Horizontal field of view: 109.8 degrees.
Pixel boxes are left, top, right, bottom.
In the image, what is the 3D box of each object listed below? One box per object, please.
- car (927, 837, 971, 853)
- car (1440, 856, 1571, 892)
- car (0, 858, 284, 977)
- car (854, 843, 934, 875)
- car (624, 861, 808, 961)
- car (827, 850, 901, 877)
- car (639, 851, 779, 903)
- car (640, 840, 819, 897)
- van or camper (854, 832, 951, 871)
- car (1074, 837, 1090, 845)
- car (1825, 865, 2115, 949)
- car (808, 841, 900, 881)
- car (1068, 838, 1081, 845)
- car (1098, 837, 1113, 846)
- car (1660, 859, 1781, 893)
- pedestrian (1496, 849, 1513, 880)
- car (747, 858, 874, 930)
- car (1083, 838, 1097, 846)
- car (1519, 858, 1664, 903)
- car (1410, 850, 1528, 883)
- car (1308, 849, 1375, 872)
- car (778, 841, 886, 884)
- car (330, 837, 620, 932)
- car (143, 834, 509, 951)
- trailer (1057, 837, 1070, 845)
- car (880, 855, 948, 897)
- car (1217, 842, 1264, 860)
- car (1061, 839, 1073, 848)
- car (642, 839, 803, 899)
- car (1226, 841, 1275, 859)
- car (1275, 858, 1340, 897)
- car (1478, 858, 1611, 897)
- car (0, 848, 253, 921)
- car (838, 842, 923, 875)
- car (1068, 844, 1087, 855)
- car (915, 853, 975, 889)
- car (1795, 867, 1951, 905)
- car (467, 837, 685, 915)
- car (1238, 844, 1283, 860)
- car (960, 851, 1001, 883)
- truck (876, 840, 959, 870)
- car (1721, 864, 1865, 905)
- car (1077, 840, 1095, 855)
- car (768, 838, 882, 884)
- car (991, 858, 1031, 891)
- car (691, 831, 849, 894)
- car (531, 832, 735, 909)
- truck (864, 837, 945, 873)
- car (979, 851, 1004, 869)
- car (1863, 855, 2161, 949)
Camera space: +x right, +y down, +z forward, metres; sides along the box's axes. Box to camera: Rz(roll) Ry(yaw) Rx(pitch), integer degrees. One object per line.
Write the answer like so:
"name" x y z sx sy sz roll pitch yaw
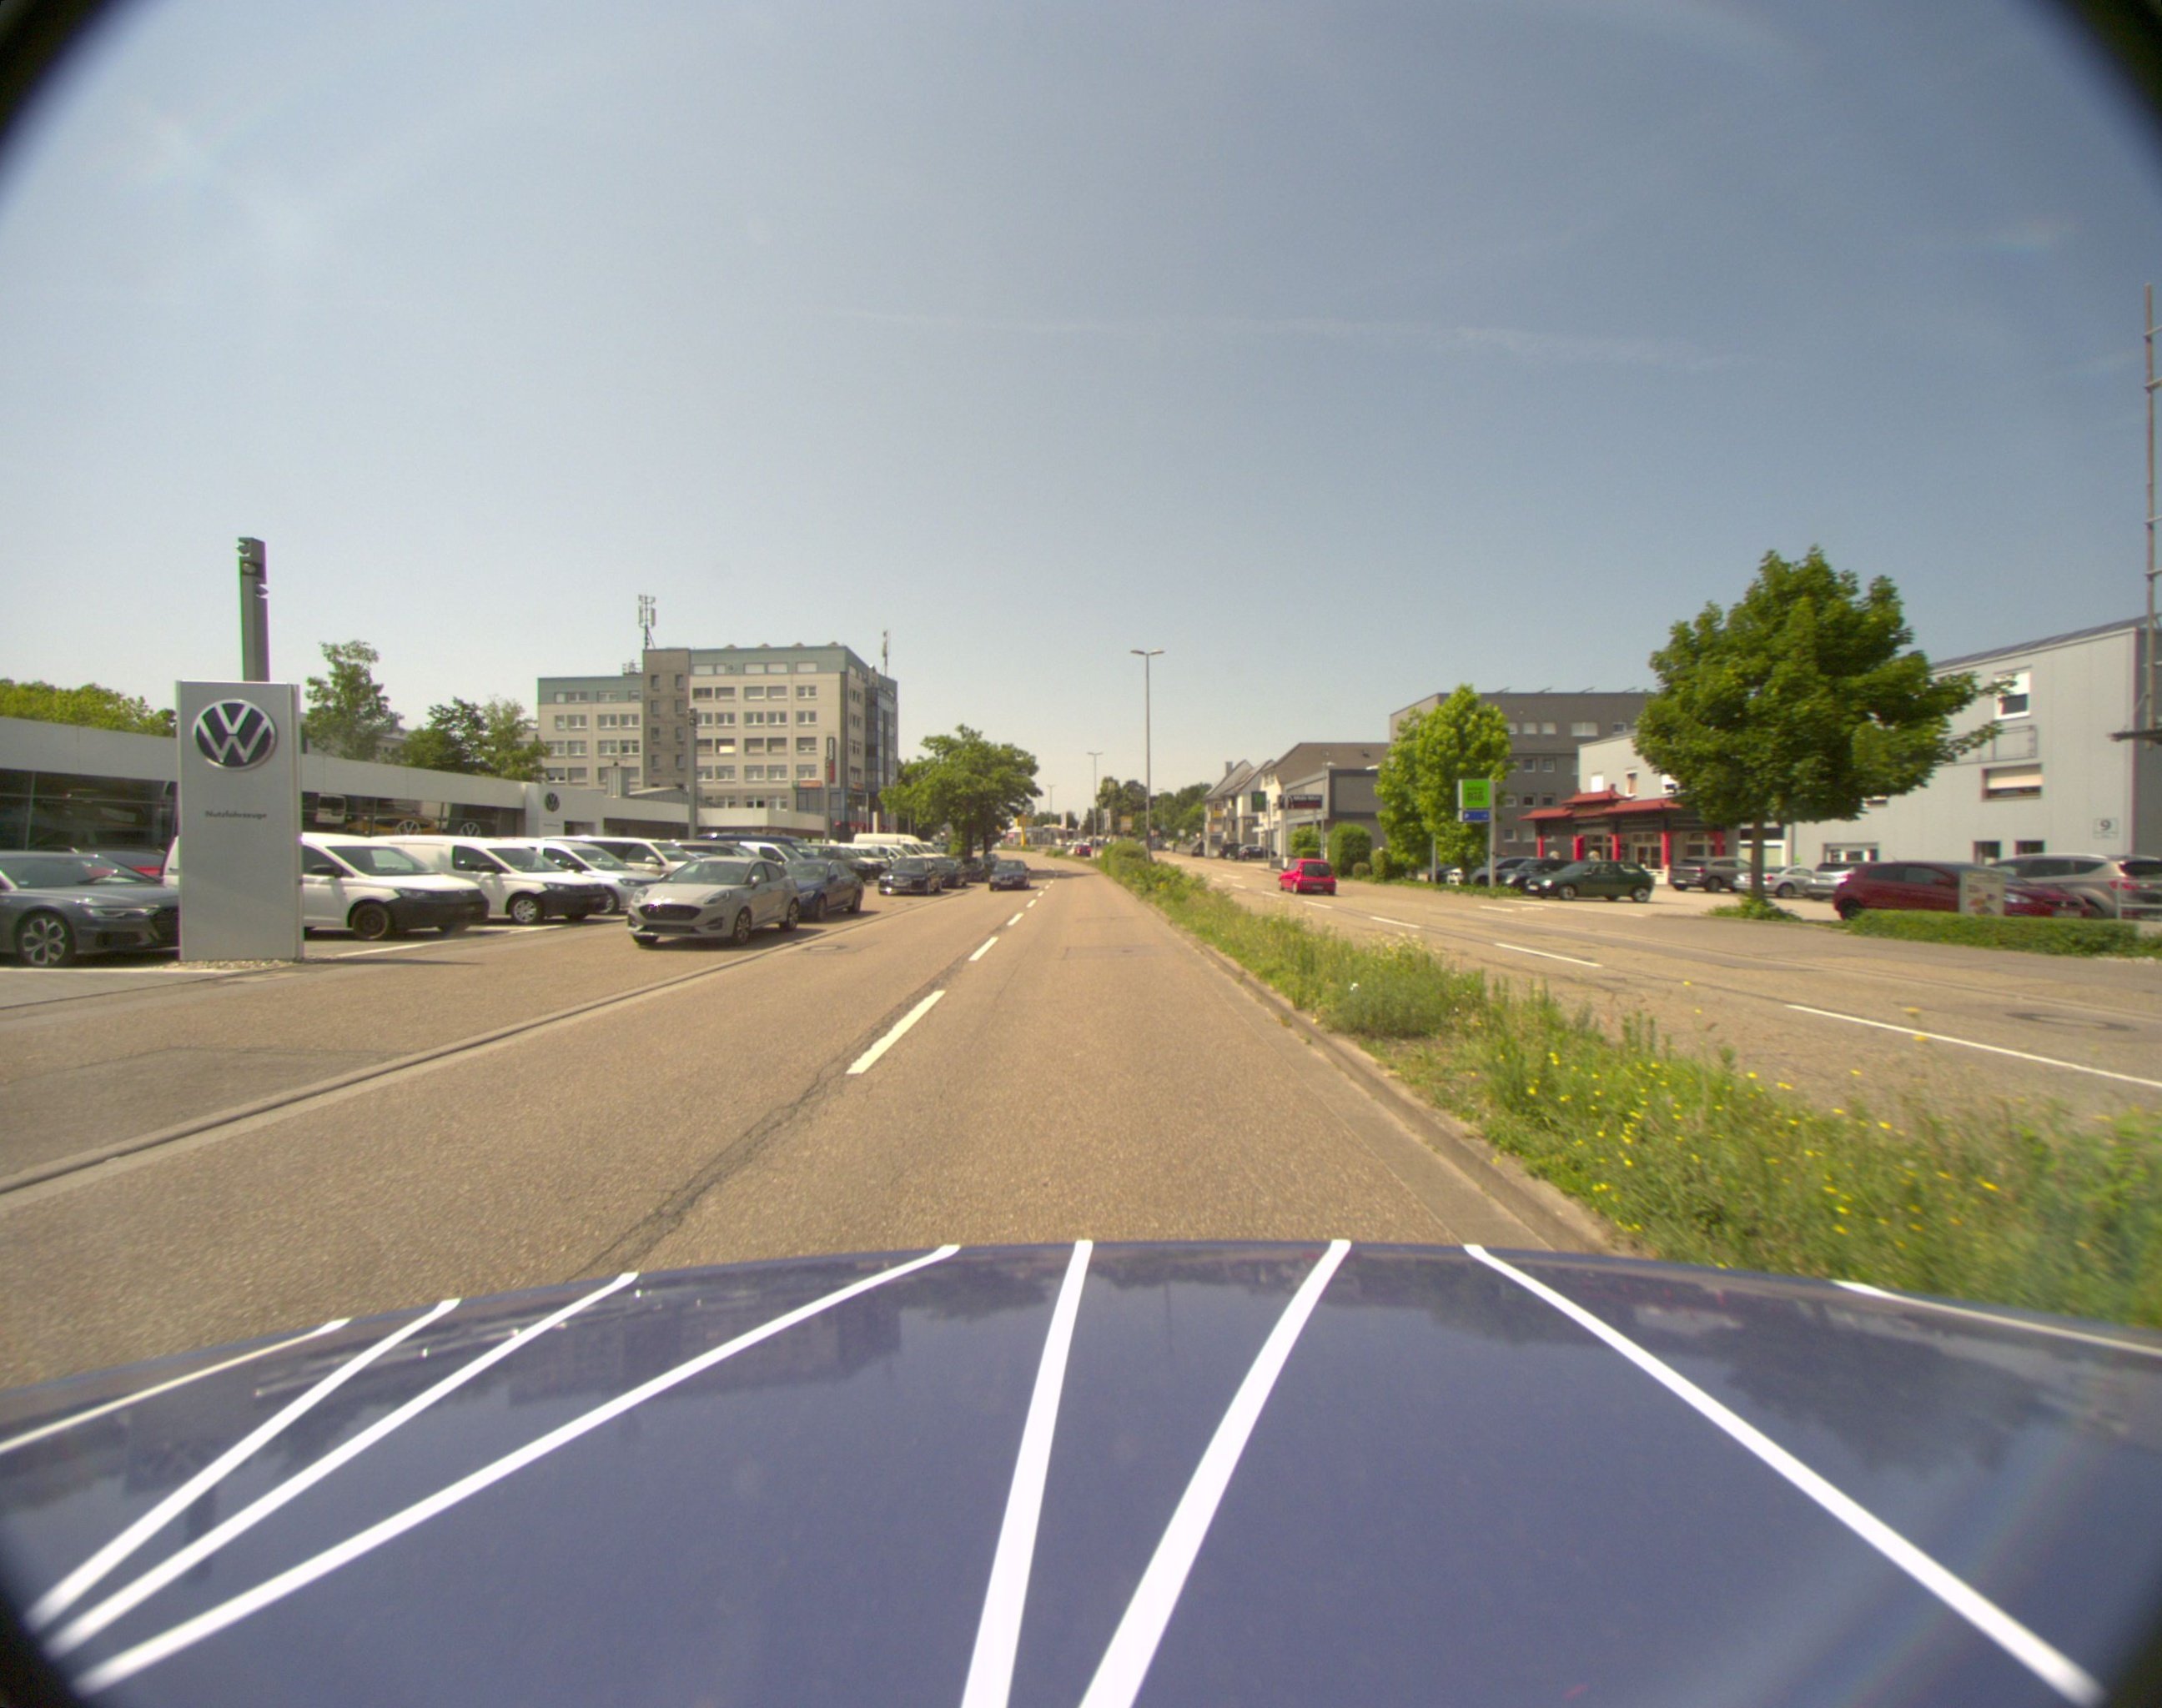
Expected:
"car" -15.510 -1.073 89.369 4.746 1.704 1.995 -2 3 -25
"car" 17.245 0.794 31.031 4.234 1.341 1.980 1 0 -1
"car" -14.265 0.792 10.420 4.544 1.437 2.000 0 0 0
"car" -12.719 0.326 51.869 4.961 2.101 2.159 0 1 -1
"car" -6.650 0.940 14.393 1.737 1.543 4.178 -1 0 -5
"car" -13.225 0.578 46.572 4.036 1.462 1.913 3 0 -6
"car" -11.959 0.727 24.563 3.638 1.561 1.717 -1 1 6
"car" -13.700 0.522 29.917 5.909 2.002 2.258 -1 1 -1
"van or camper" -13.445 -0.189 57.500 6.814 2.881 2.275 0 1 -1
"car" 0.261 -2.670 159.561 1.914 1.532 3.967 0 3 21
"car" 18.598 1.030 16.212 1.663 1.459 3.797 2 0 0
"car" -12.932 0.352 43.522 4.520 2.002 2.197 3 2 1
"car" -1.422 -2.667 161.574 1.754 1.501 3.823 -1 3 17
"car" 4.932 -2.564 155.203 1.847 1.714 4.006 -1 3 -19
"car" 29.014 0.993 34.543 3.983 1.459 1.963 0 1 -5
"pedestrian" 23.069 0.557 41.406 0.547 1.648 0.625 -1 3 -1
"car" -6.836 0.921 19.769 1.718 1.539 4.789 1 1 -2
"car" 1.922 -2.540 157.611 1.712 1.424 3.967 1 3 20
"car" 17.206 0.876 25.754 3.667 1.356 1.780 1 1 1
"car" 17.213 0.539 33.841 4.160 1.334 2.042 1 0 -2
"car" 17.670 0.442 51.697 3.999 1.451 1.574 0 2 -5
"car" -13.184 0.413 40.455 5.077 2.085 2.040 2 1 -1
"car" -12.650 0.614 16.095 4.568 1.877 1.856 0 1 -2
"car" -12.953 0.616 13.277 4.424 1.871 1.909 0 1 -1
"trailer" -3.838 -2.912 164.756 1.689 1.694 2.438 0 3 29
"car" -6.733 0.840 31.116 1.860 1.472 5.154 1 1 -3
"car" 17.128 -0.368 81.742 4.617 1.618 1.853 -4 2 0
"car" -2.422 -1.834 133.368 1.786 1.620 4.336 -1 1 -5
"car" -12.724 0.547 27.170 4.798 1.972 2.004 -1 -1 1
"car" 17.688 -0.448 79.504 4.620 1.488 1.751 -4 2 -8
"car" 9.285 0.915 31.352 1.635 1.416 3.450 1 1 1
"car" 17.330 0.877 28.538 3.848 1.326 1.859 1 1 -1
"car" -21.836 0.637 17.317 3.996 1.562 1.859 0 1 3
"car" -12.900 0.276 49.165 4.925 1.960 2.141 1 1 0
"car" -0.485 -0.700 106.791 1.869 1.423 4.739 -1 2 -9
"car" -6.511 0.764 37.020 1.966 1.521 5.160 2 1 0
"car" 29.440 1.172 28.324 3.848 1.278 1.860 0 1 0
"car" -12.517 0.508 19.053 4.161 1.771 1.880 1 3 -1
"car" 18.128 -0.205 76.795 4.068 1.512 1.999 0 2 -3
"car" -5.838 0.721 43.680 1.688 1.428 4.429 0 4 -17
"truck" -13.300 0.060 62.054 6.260 2.323 2.368 1 0 1
"car" 29.131 1.232 31.191 3.985 1.459 2.072 2 1 -2
"car" 0.624 -0.847 99.759 1.914 1.741 4.755 -2 2 -5
"car" -12.728 0.348 38.006 4.912 2.102 2.129 1 0 -1
"car" -3.227 0.913 35.317 1.698 1.365 3.998 -2 0 -4
"car" -13.357 0.314 32.882 5.857 2.510 2.204 -1 2 3
"car" -12.766 0.458 21.877 4.652 2.002 1.960 1 0 -2
"truck" -12.666 0.058 54.668 5.260 2.422 2.111 1 1 2
"car" -7.723 0.471 65.859 1.802 1.398 4.318 -2 1 -2
"car" 21.047 0.939 16.951 1.764 1.724 5.165 2 0 0
